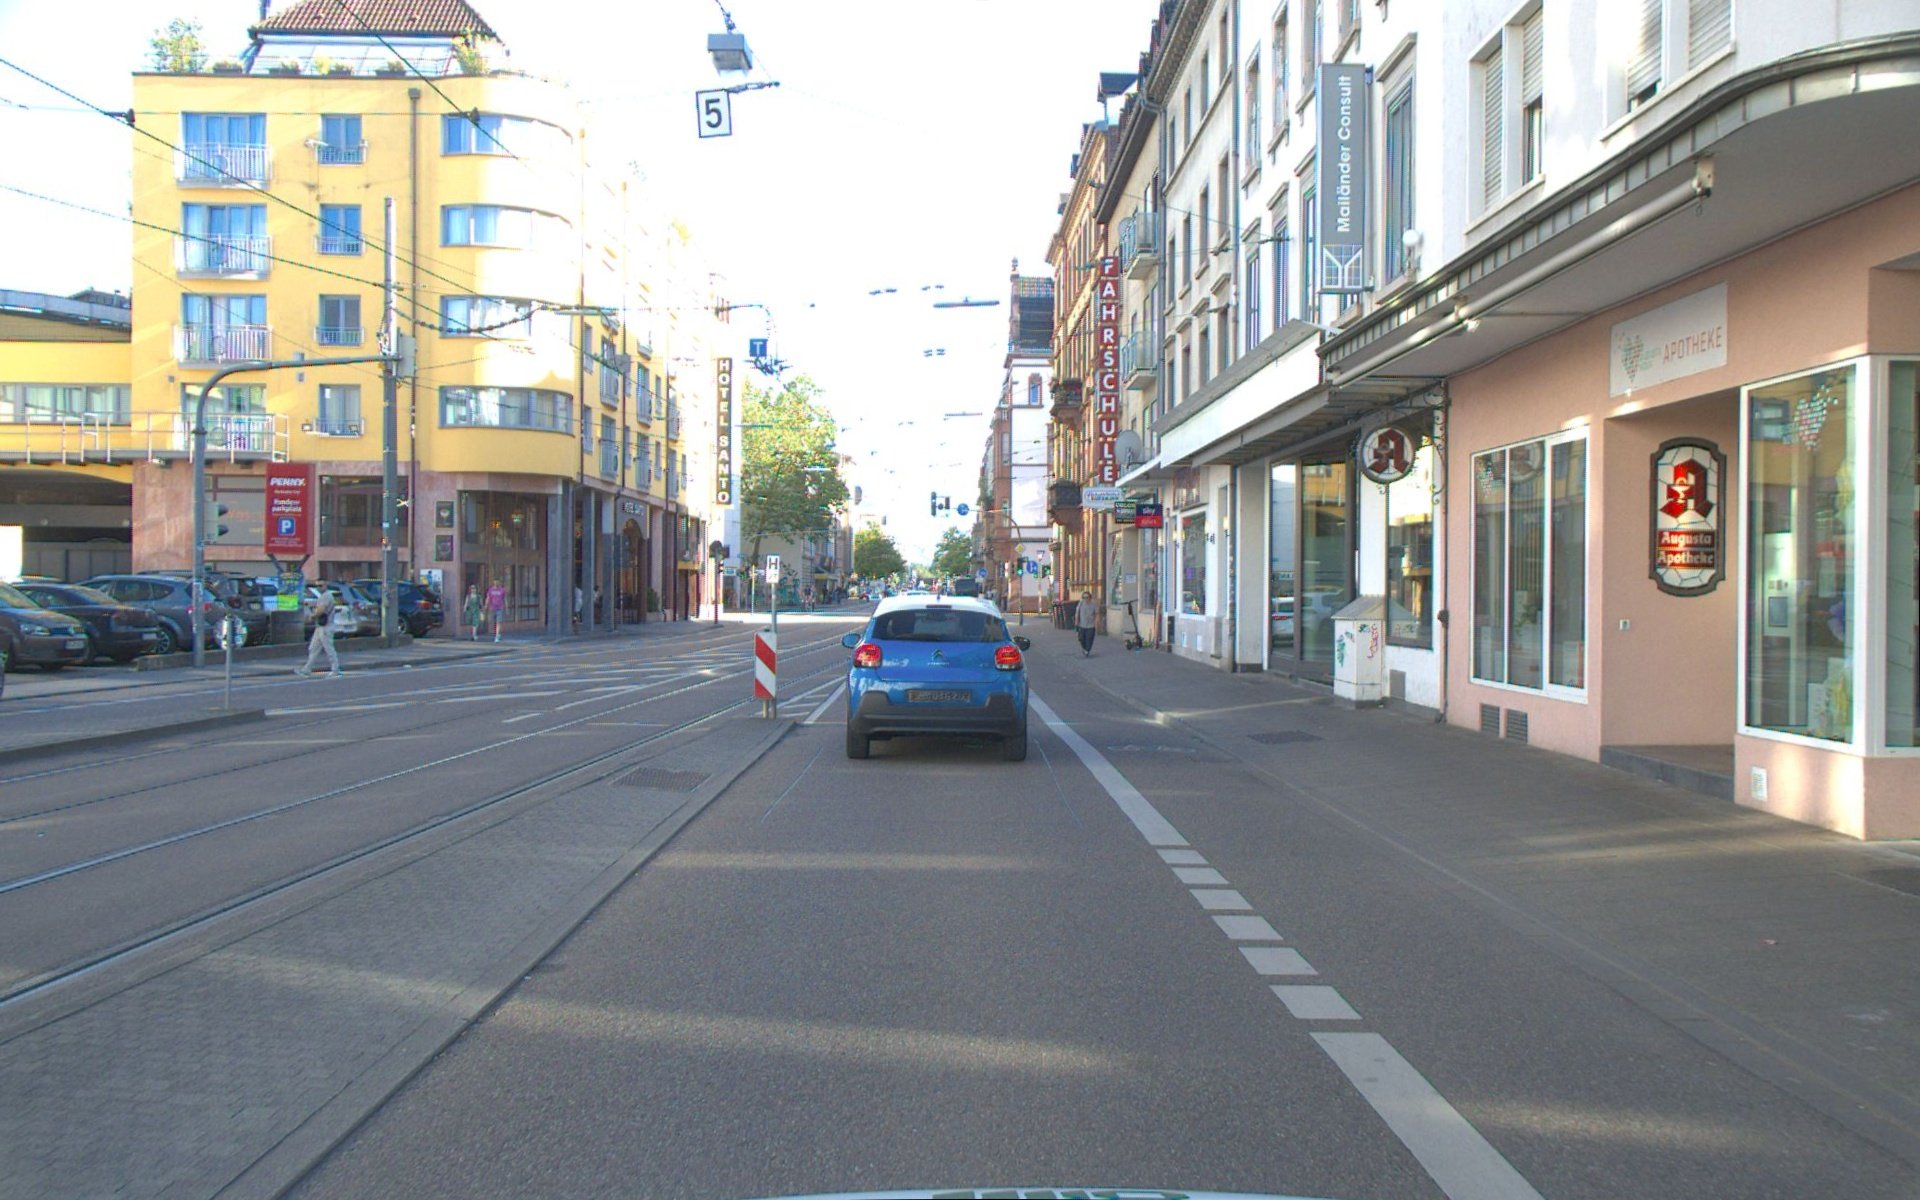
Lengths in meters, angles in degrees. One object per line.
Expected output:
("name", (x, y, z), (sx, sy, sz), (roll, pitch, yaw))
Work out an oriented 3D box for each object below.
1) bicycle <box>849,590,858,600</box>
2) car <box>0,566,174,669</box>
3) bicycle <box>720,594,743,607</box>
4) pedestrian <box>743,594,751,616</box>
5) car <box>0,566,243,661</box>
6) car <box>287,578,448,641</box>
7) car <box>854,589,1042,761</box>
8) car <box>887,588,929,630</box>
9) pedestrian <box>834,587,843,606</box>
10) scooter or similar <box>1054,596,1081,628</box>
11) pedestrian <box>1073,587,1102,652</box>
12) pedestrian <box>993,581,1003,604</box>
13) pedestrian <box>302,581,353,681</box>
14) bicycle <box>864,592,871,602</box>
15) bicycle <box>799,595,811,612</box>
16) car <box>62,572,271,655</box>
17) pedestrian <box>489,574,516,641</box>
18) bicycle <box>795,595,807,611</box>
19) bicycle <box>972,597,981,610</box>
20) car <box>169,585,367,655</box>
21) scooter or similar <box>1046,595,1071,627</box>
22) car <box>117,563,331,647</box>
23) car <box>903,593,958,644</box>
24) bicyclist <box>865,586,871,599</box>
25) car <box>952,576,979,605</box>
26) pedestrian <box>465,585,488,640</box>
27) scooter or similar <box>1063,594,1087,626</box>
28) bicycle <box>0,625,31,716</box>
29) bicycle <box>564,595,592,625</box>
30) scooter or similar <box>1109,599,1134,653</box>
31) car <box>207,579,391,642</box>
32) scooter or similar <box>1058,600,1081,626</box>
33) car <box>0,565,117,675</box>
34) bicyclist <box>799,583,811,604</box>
("bicycle", (-15.219, -0.755, 237.071), (1.099, 1.342, 3.639), (0, 0, -6))
("car", (-17.068, 0.322, 30.636), (4.147, 1.844, 1.785), (0, -1, -1))
("bicycle", (-19.019, 0.069, 137.638), (1.878, 1.052, 0.665), (0, 0, 25))
("pedestrian", (-15.363, 0.369, 119.314), (0.531, 1.579, 0.516), (0, 0, -3))
("car", (-16.871, 0.262, 33.222), (4.147, 1.843, 1.785), (0, 0, -1))
("car", (-17.587, 0.277, 49.221), (4.147, 1.843, 1.785), (0, 0, -1))
("car", (-0.114, 0.642, 16.446), (1.639, 1.503, 4.000), (0, 0, 0))
("car", (-2.568, 0.406, 82.629), (1.953, 2.049, 4.000), (0, 0, 0))
("pedestrian", (-11.559, -0.288, 157.062), (0.668, 1.796, 1.026), (0, 0, 9))
("scooter or similar", (4.214, 0.452, 64.592), (0.915, 1.168, 0.650), (-4, 0, -3))
("pedestrian", (3.144, 0.479, 40.823), (0.635, 1.587, 0.781), (0, 0, -2))
("pedestrian", (2.949, -0.576, 128.322), (0.691, 1.813, 0.672), (2, -1, -3))
("pedestrian", (-11.447, 0.554, 29.950), (0.700, 1.795, 0.779), (0, 0, -8))
("bicycle", (-10.315, -0.347, 184.867), (0.679, 1.140, 2.083), (0, 1, -2))
("bicycle", (-10.524, 0.237, 112.422), (0.716, 1.107, 2.061), (0, 0, -2))
("car", (-17.010, 0.280, 35.581), (3.614, 1.702, 1.785), (0, 0, -1))
("pedestrian", (-13.646, 0.231, 49.300), (0.624, 1.980, 0.709), (0, 0, -2))
("bicycle", (-11.422, 0.202, 118.758), (0.716, 1.084, 2.061), (0, 0, -2))
("bicycle", (1.228, 0.247, 125.441), (0.423, 0.964, 1.760), (0, 0, -8))
("car", (-17.128, 0.517, 41.081), (4.147, 1.638, 1.784), (-1, -2, -1))
("scooter or similar", (3.900, 0.436, 65.518), (0.879, 1.168, 0.547), (-4, 0, -3))
("car", (-16.995, 0.138, 38.353), (4.147, 1.844, 1.784), (-1, -2, -1))
("car", (-0.952, 0.539, 51.175), (1.633, 1.504, 3.998), (0, 0, -2))
("bicyclist", (-10.318, -0.853, 184.712), (0.668, 1.509, 0.778), (0, 0, -2))
("car", (0.482, -0.854, 145.698), (2.225, 2.479, 5.718), (0, 0, -1))
("pedestrian", (-14.423, 0.372, 49.357), (0.560, 1.645, 0.499), (0, 0, -3))
("scooter or similar", (4.374, 0.383, 63.018), (0.774, 1.168, 0.789), (-4, 0, -3))
("bicycle", (-12.627, 0.924, 20.968), (0.552, 1.143, 2.004), (1, 1, 1))
("bicycle", (-15.836, 0.417, 68.658), (0.569, 1.224, 2.081), (0, 0, 3))
("scooter or similar", (4.025, 0.641, 41.205), (0.401, 1.304, 1.285), (0, 0, 15))
("car", (-17.390, 0.295, 43.645), (4.147, 1.575, 1.784), (-1, -2, -1))
("scooter or similar", (4.225, 0.502, 63.955), (0.774, 0.974, 0.680), (-4, 0, -3))
("car", (-17.030, 0.293, 28.382), (4.147, 1.794, 1.785), (1, 0, -1))
("bicyclist", (-10.499, -0.430, 112.127), (0.709, 1.405, 1.227), (1, 1, -3))
